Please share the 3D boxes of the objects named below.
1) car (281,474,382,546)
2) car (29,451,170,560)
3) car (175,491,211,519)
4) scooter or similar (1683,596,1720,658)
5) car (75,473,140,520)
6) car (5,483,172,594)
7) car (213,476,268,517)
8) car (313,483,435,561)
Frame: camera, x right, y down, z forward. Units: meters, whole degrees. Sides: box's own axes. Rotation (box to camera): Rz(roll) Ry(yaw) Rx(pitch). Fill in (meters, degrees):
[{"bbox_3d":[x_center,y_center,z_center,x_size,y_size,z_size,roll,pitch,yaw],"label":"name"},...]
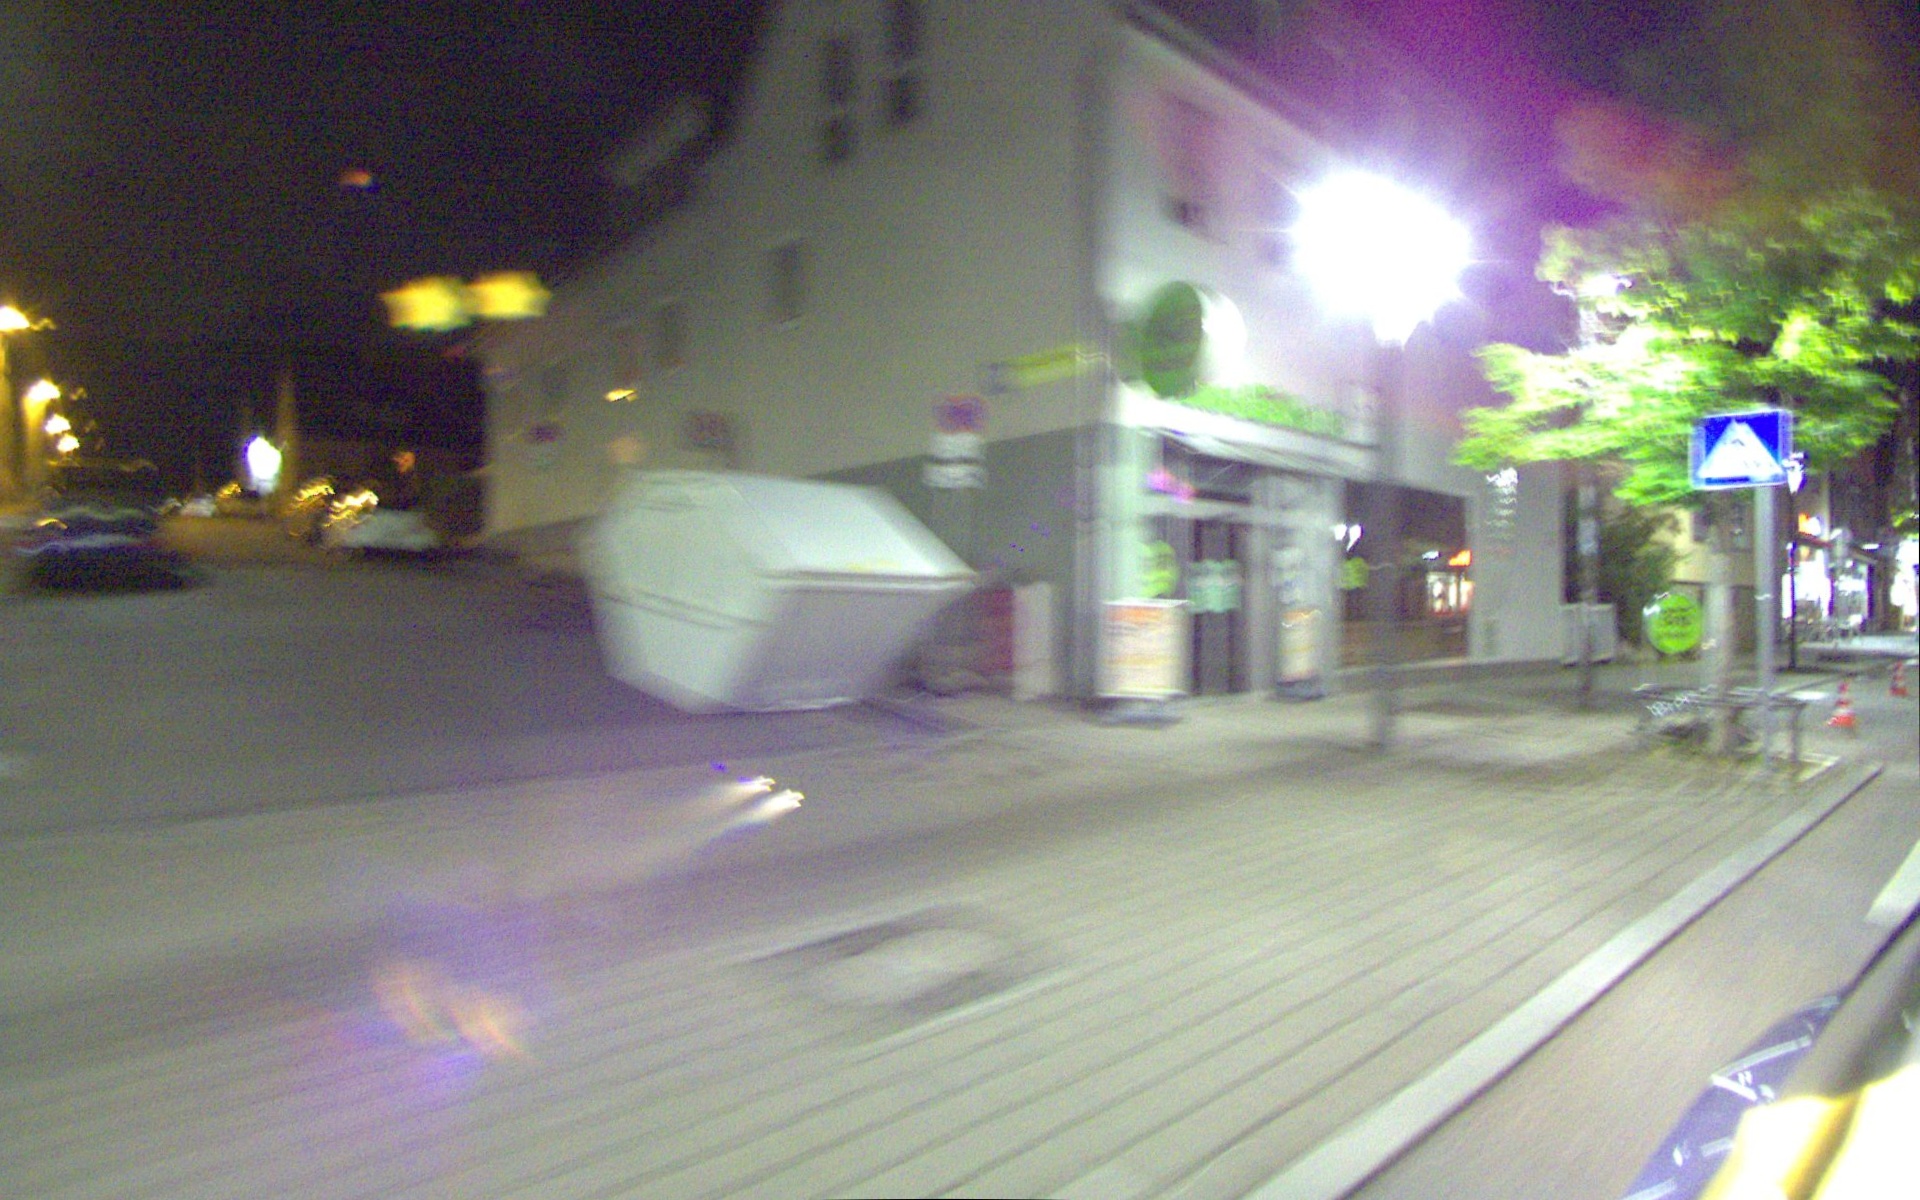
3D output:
[{"bbox_3d":[-17.085,-2.466,27.418,1.697,1.667,4.054,0,6,-41],"label":"car"},{"bbox_3d":[-17.116,-1.944,20.095,1.901,1.888,4.857,-2,7,-42],"label":"car"},{"bbox_3d":[-52.699,-6.541,69.526,1.697,1.667,4.054,0,6,-41],"label":"car"},{"bbox_3d":[16.526,0.585,22.546,1.282,1.292,0.374,-2,1,-40],"label":"scooter or similar"},{"bbox_3d":[-31.511,-3.841,37.373,1.698,1.489,4.053,-2,8,-42],"label":"car"},{"bbox_3d":[-13.172,-1.003,15.304,1.698,1.355,4.053,-2,8,-42],"label":"car"},{"bbox_3d":[-33.574,-4.833,47.176,1.697,1.667,4.054,0,6,-41],"label":"car"},{"bbox_3d":[-13.916,-1.880,23.940,1.698,1.567,4.053,0,6,-42],"label":"car"}]
